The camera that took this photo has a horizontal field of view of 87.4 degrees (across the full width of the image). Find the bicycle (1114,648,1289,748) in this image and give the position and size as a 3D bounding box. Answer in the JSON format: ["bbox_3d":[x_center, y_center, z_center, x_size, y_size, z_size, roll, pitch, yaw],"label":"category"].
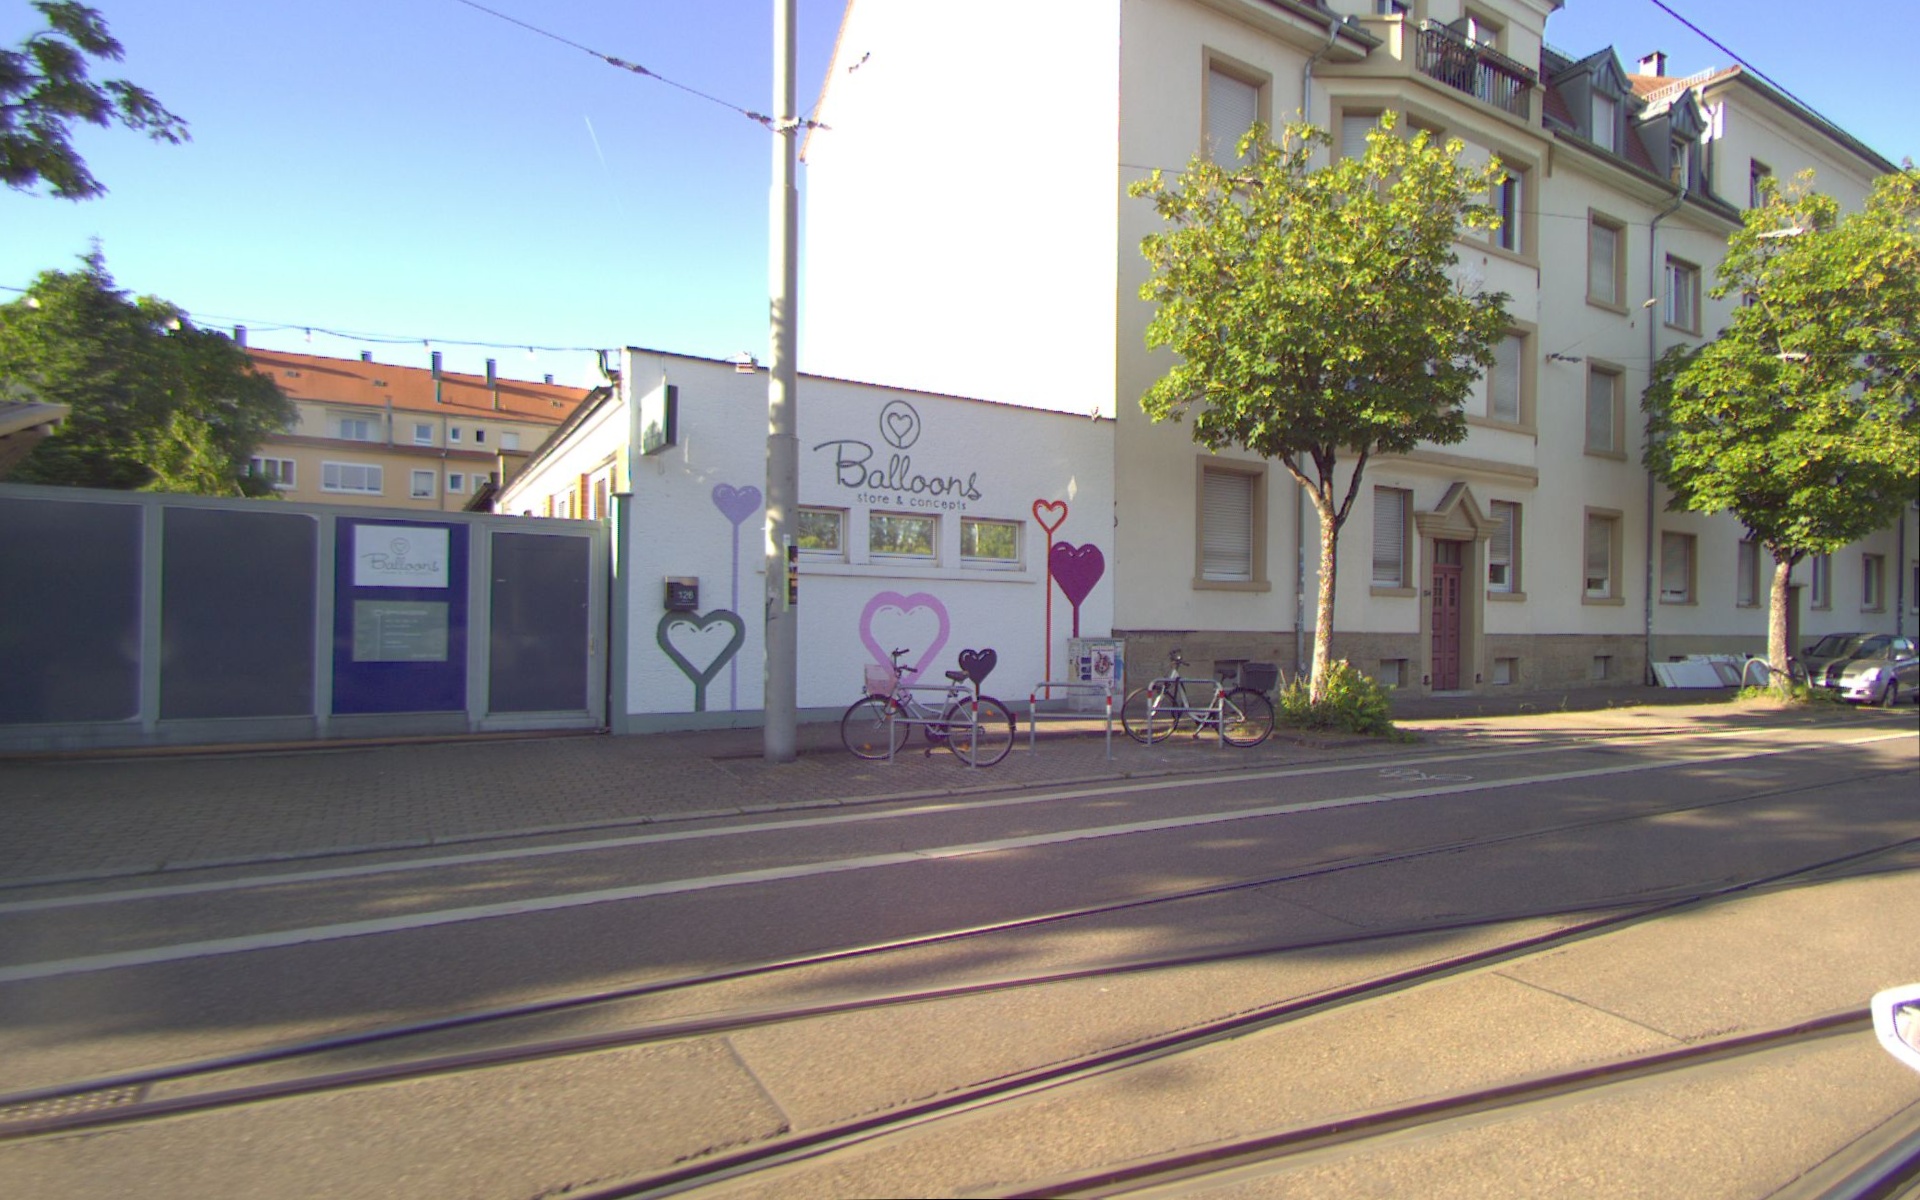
[{"bbox_3d":[2.846,1.140,11.923,1.947,1.054,0.532,1,0,14],"label":"bicycle"}]

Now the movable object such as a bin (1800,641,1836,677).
[{"bbox_3d":[22.934,1.573,26.841,0.563,0.947,0.592,1,-1,-33],"label":"movable object such as a bin"}]

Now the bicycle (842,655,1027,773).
[{"bbox_3d":[-0.238,1.123,10.115,1.750,1.054,0.670,1,0,7],"label":"bicycle"}]

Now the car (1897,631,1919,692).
[{"bbox_3d":[25.161,1.549,24.951,4.140,1.444,1.643,2,0,-30],"label":"car"}]

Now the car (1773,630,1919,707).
[{"bbox_3d":[19.672,1.452,21.975,3.953,1.511,1.643,2,0,-30],"label":"car"}]
